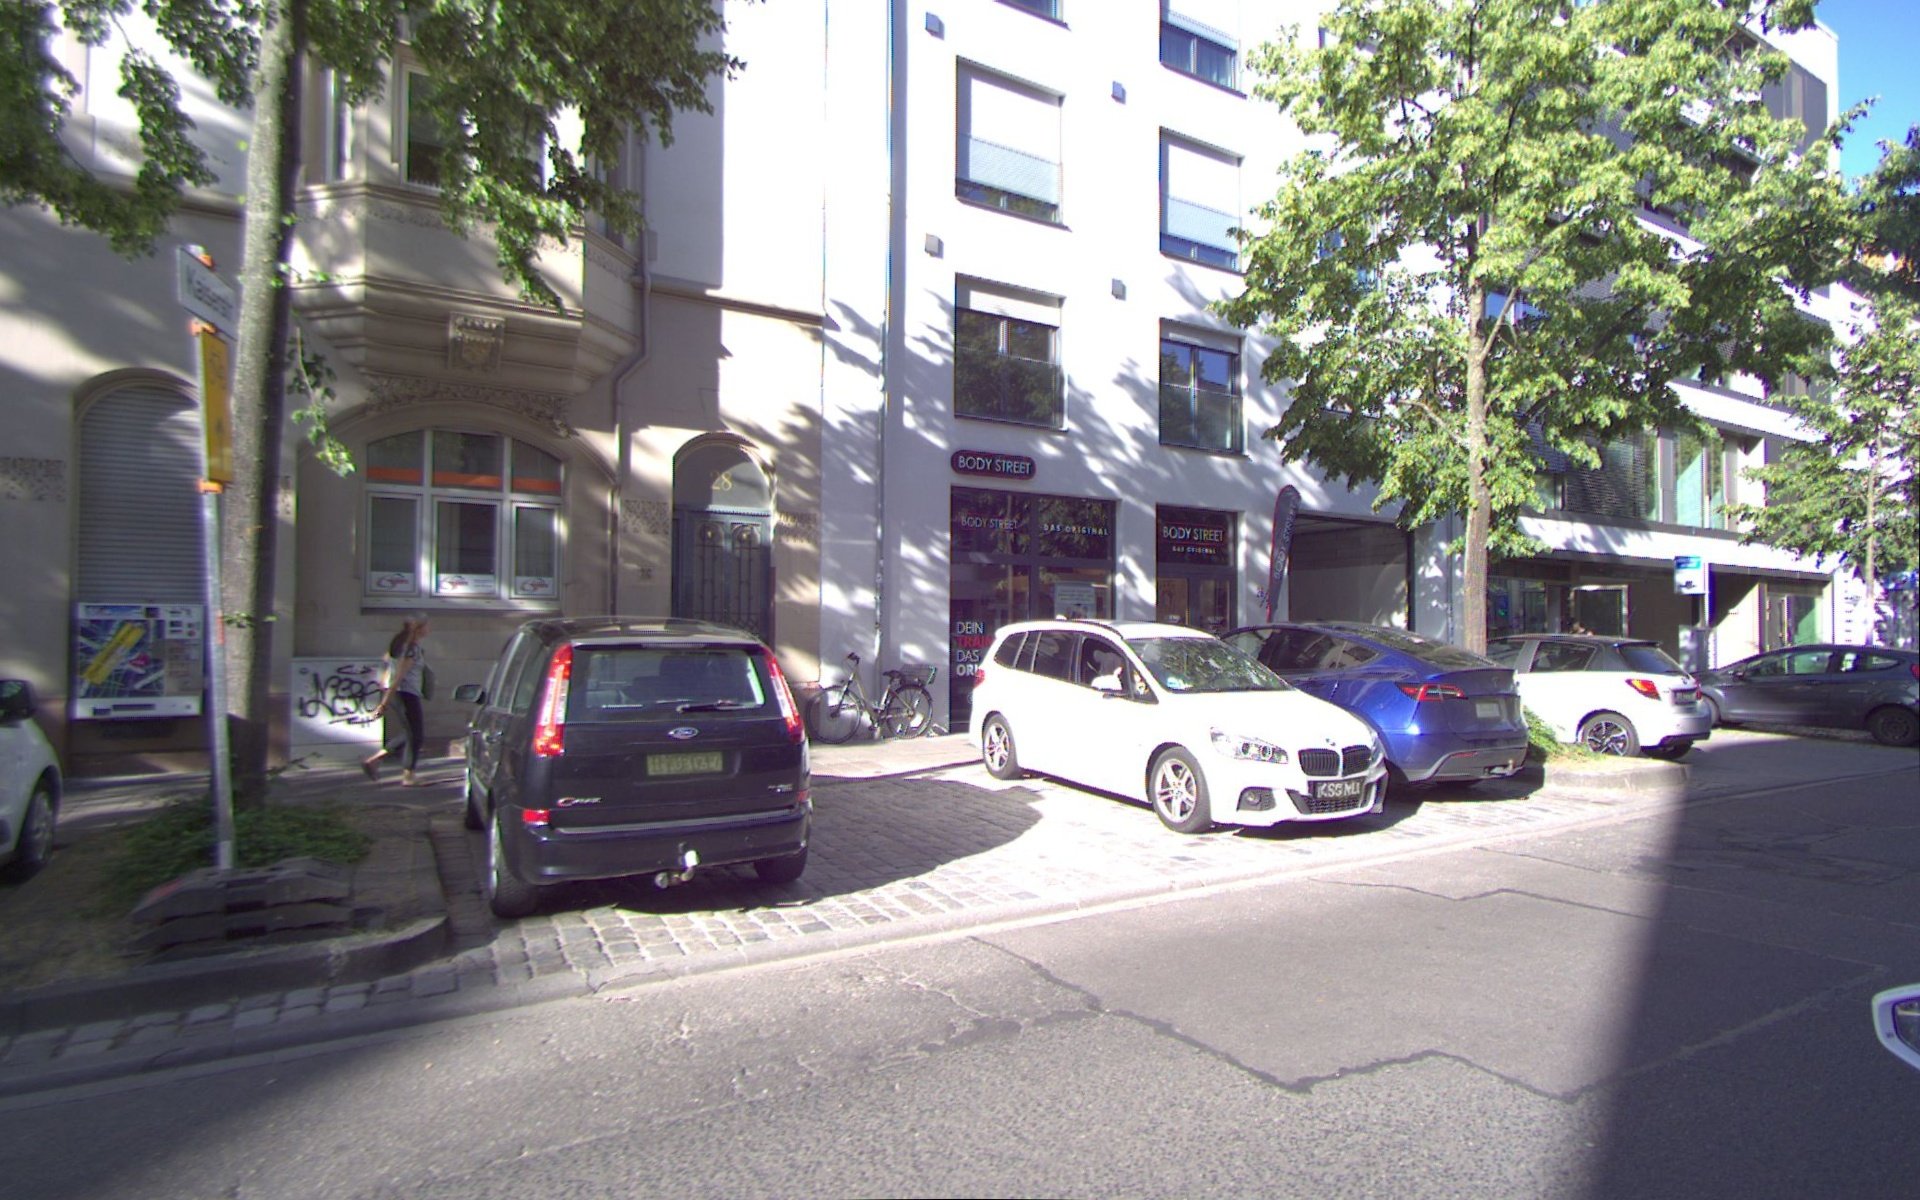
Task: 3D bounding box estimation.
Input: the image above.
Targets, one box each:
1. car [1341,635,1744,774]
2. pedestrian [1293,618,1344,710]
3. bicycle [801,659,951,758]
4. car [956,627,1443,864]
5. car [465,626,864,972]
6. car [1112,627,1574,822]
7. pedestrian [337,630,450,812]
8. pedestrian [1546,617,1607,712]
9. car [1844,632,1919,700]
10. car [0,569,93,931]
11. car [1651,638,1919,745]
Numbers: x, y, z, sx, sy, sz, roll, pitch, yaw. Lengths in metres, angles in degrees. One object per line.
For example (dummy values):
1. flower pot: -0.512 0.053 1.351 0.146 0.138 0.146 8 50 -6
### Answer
1. car: 7.482 1.221 13.325 1.959 1.478 4.220 1 -2 -33
2. pedestrian: 7.006 1.236 19.667 0.731 1.758 0.647 0 -1 -3
3. bicycle: -1.036 1.330 12.634 1.830 1.122 0.539 1 1 -32
4. car: 1.846 1.050 9.190 1.923 1.591 4.347 1 -2 -29
5. car: -2.214 0.969 6.716 1.770 1.579 3.783 1 -2 -29
6. car: 3.717 1.081 10.604 1.956 1.591 4.347 1 -2 -29
7. pedestrian: -5.032 1.039 8.952 0.832 1.514 0.590 1 1 -29
8. pedestrian: 12.107 1.247 19.733 0.733 1.821 0.699 0 -1 -19
9. car: 22.490 1.497 21.955 1.770 1.478 4.469 1 -1 -31
10. car: -5.630 0.758 4.356 2.014 1.860 4.087 1 -1 -29
11. car: 13.521 1.368 16.027 1.764 1.478 3.753 1 -2 -37
